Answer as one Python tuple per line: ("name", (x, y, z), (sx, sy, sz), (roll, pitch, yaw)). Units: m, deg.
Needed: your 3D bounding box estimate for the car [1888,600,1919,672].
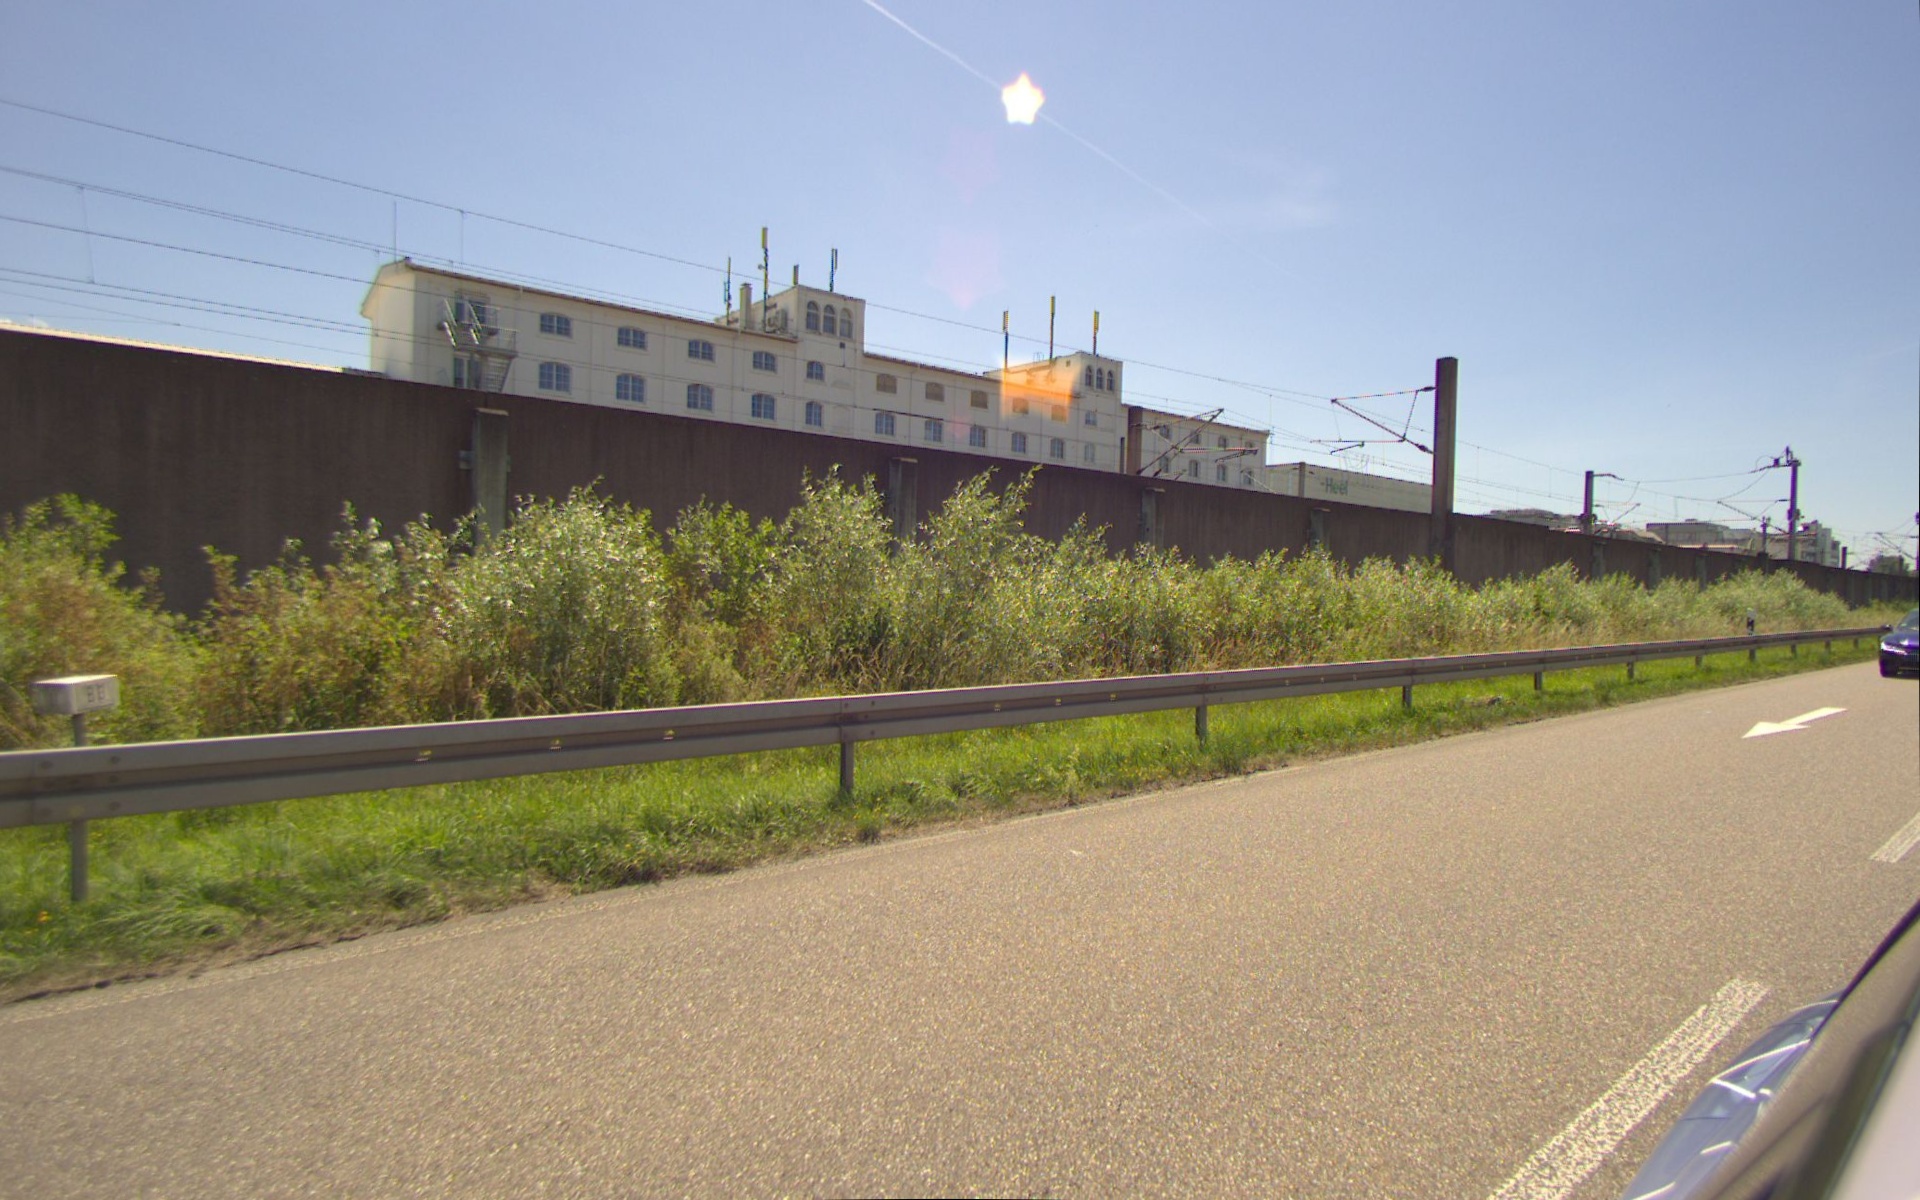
("car", (20.663, 0.707, 20.712), (4.422, 1.397, 1.861), (0, 0, -39))
